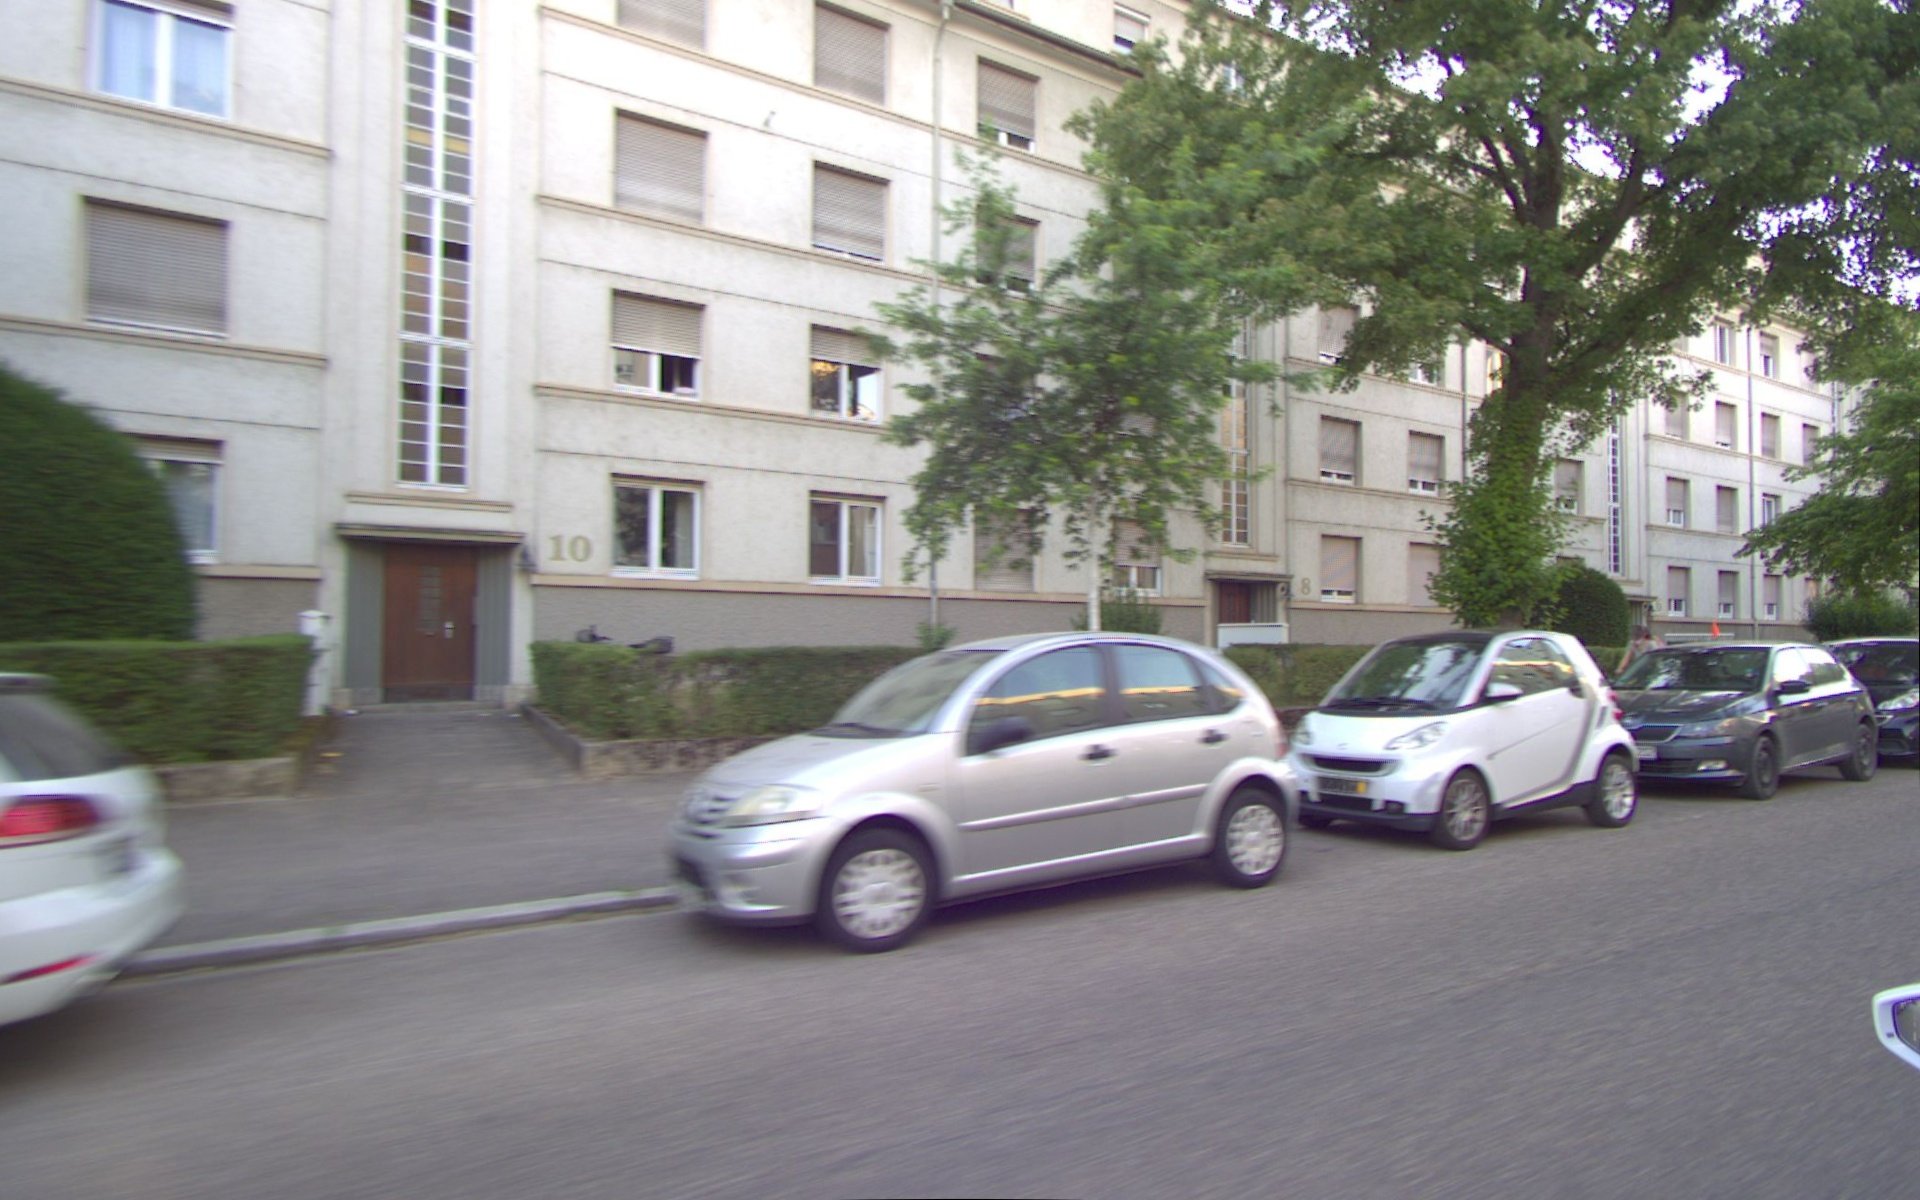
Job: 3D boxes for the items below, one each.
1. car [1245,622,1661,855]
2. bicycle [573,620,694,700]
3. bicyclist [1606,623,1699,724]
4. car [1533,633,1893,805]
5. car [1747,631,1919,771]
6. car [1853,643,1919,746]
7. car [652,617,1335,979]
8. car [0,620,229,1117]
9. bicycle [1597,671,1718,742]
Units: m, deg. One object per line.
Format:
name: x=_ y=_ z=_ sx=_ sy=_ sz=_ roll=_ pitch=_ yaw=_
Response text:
car: x=3.972 y=1.021 z=8.120 sx=2.885 sy=1.548 sz=1.585 roll=1 pitch=-5 yaw=-28
bicycle: x=-5.303 y=0.966 z=16.334 sx=1.794 sy=1.246 sz=0.554 roll=1 pitch=-2 yaw=-28
bicyclist: x=10.160 y=1.057 z=14.748 sx=0.962 sy=1.422 sz=0.804 roll=1 pitch=-2 yaw=-30
car: x=7.914 y=1.151 z=10.469 sx=4.056 sy=1.485 sz=1.582 roll=2 pitch=-6 yaw=-32
car: x=11.537 y=1.229 z=12.639 sx=3.129 sy=1.548 sz=1.516 roll=2 pitch=-5 yaw=-32
car: x=15.145 y=1.354 z=14.880 sx=4.132 sy=1.422 sz=1.583 roll=2 pitch=-5 yaw=-30
car: x=0.275 y=0.946 z=5.918 sx=3.755 sy=1.524 sz=1.583 roll=2 pitch=-5 yaw=-31
car: x=-4.905 y=0.822 z=2.797 sx=4.431 sy=1.478 sz=1.685 roll=2 pitch=-5 yaw=-31
bicycle: x=10.242 y=1.535 z=14.738 sx=1.741 sy=0.923 sz=0.804 roll=1 pitch=-2 yaw=-31
